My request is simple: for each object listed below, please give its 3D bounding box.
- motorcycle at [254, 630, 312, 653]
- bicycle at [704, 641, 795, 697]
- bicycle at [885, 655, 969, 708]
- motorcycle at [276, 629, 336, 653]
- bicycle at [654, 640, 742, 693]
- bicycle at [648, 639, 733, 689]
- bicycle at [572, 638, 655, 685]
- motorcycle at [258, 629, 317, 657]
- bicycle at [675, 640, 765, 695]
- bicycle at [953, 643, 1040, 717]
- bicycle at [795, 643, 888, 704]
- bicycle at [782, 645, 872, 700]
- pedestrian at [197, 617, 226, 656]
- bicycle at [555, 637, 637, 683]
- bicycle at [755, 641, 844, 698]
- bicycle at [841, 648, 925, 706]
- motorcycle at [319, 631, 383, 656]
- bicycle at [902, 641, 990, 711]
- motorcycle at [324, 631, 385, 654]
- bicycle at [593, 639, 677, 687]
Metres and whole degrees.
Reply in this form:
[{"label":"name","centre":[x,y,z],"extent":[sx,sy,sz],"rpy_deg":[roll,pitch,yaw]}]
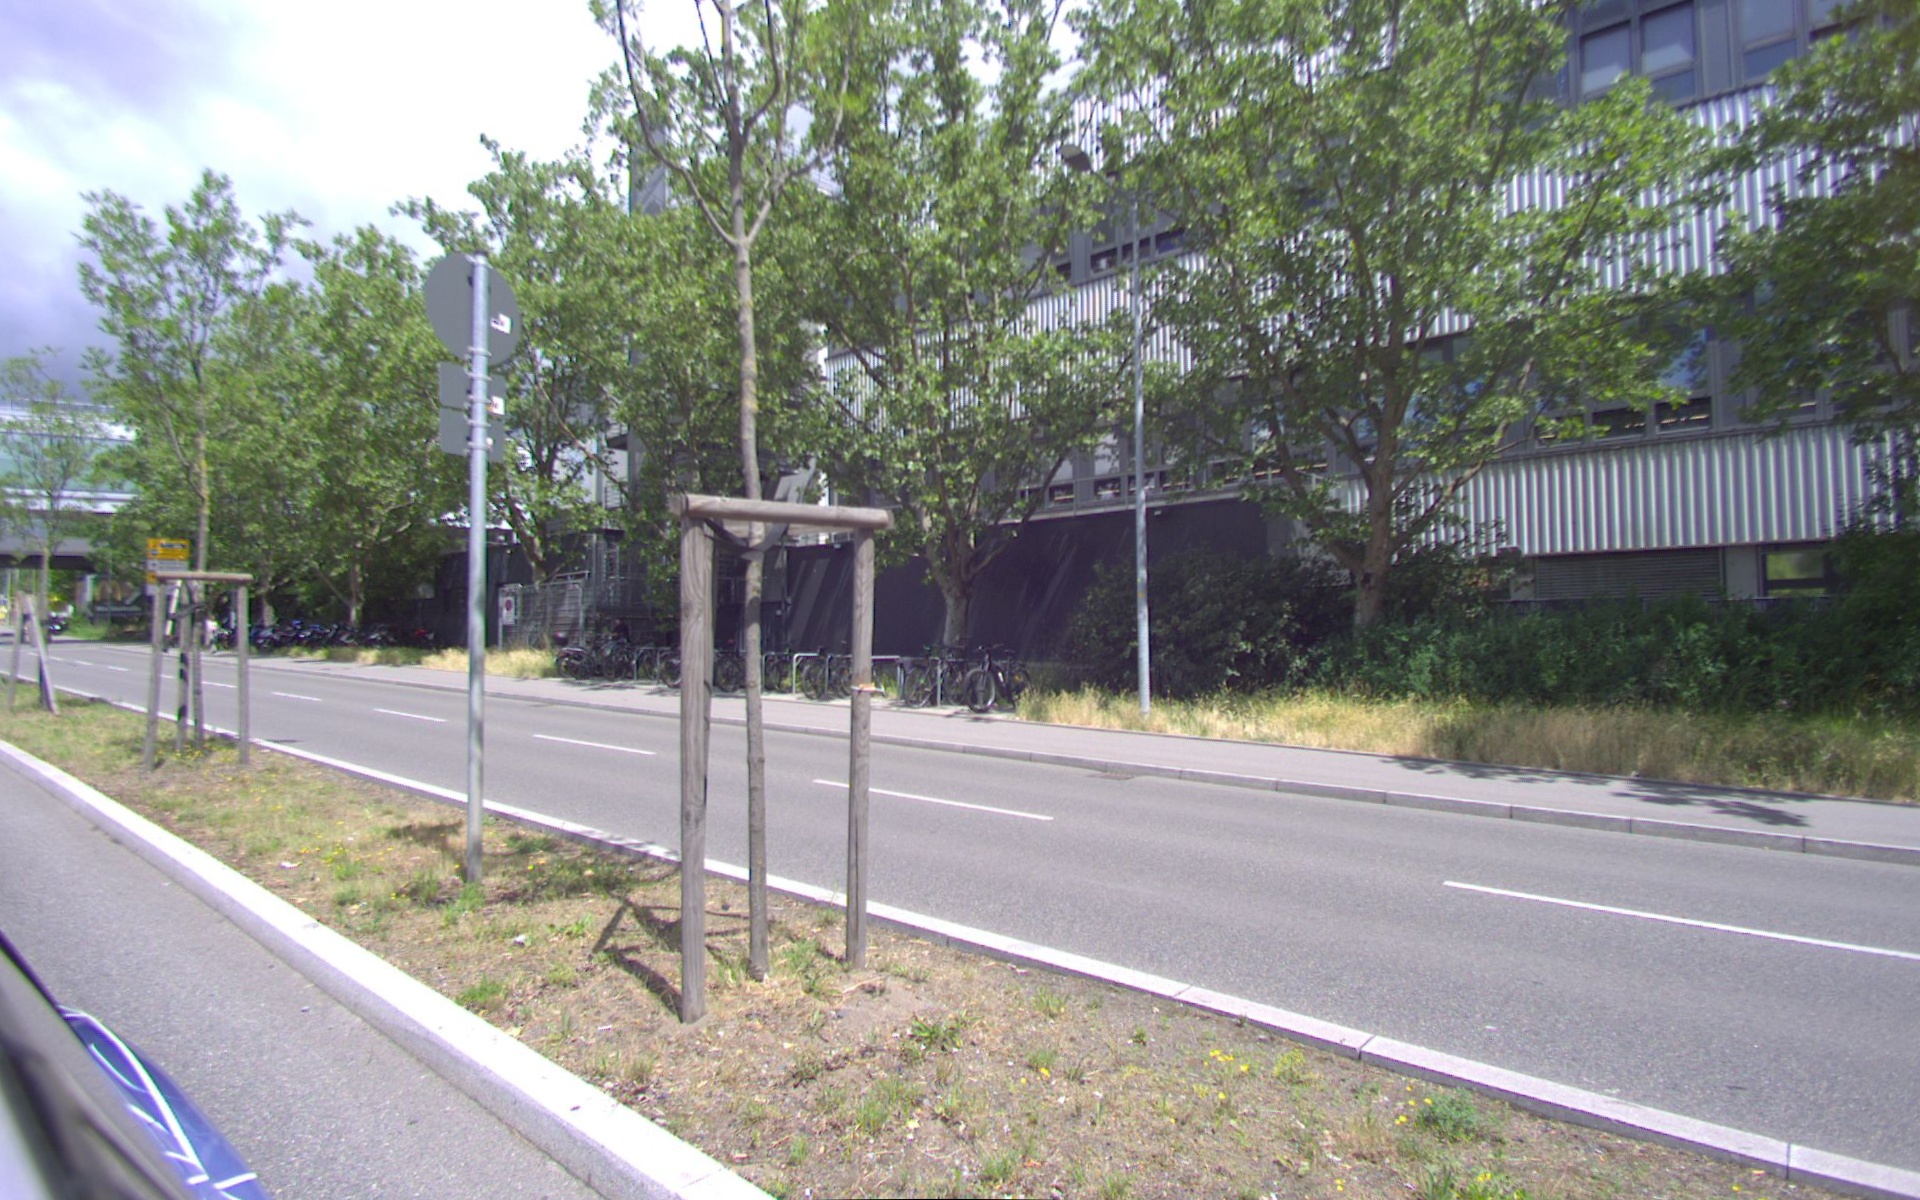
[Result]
[{"label":"motorcycle","centre":[-30.175,1.832,45.133],"extent":[0.534,0.976,2.105],"rpy_deg":[-2,-1,41]},{"label":"bicycle","centre":[-4.548,1.483,22.017],"extent":[0.382,1.119,2.101],"rpy_deg":[-2,-1,43]},{"label":"bicycle","centre":[-0.602,1.524,19.222],"extent":[0.381,0.897,1.968],"rpy_deg":[-2,-1,39]},{"label":"motorcycle","centre":[-28.006,1.736,43.345],"extent":[0.534,0.976,2.105],"rpy_deg":[-2,-1,41]},{"label":"bicycle","centre":[-5.996,1.503,23.264],"extent":[0.382,1.119,2.101],"rpy_deg":[-2,-1,43]},{"label":"bicycle","centre":[-6.486,1.515,24.414],"extent":[0.382,1.119,2.101],"rpy_deg":[-2,-1,43]},{"label":"bicycle","centre":[-8.911,1.574,26.086],"extent":[0.382,1.119,2.101],"rpy_deg":[-2,-1,43]},{"label":"motorcycle","centre":[-29.221,1.859,44.007],"extent":[0.534,1.146,2.105],"rpy_deg":[-2,-1,41]},{"label":"bicycle","centre":[-5.339,1.492,22.668],"extent":[0.382,1.119,2.101],"rpy_deg":[-2,-1,43]},{"label":"bicycle","centre":[0.655,1.342,17.399],"extent":[0.381,1.137,1.968],"rpy_deg":[-2,-1,39]},{"label":"bicycle","centre":[-2.345,1.438,20.229],"extent":[0.382,1.104,2.101],"rpy_deg":[-2,-1,43]},{"label":"bicycle","centre":[-2.749,1.483,21.137],"extent":[0.382,1.038,2.101],"rpy_deg":[-2,-1,43]},{"label":"pedestrian","centre":[-33.388,1.621,45.121],"extent":[0.672,1.734,0.888],"rpy_deg":[-2,-2,41]},{"label":"bicycle","centre":[-9.552,1.555,26.632],"extent":[0.382,1.119,2.101],"rpy_deg":[-2,-1,43]},{"label":"bicycle","centre":[-3.417,1.460,21.751],"extent":[0.382,1.119,2.101],"rpy_deg":[-2,-1,43]},{"label":"bicycle","centre":[-1.475,1.480,19.708],"extent":[0.381,1.005,1.968],"rpy_deg":[-2,-1,39]},{"label":"motorcycle","centre":[-23.955,1.705,39.826],"extent":[0.534,0.905,2.105],"rpy_deg":[-2,-1,41]},{"label":"bicycle","centre":[-0.225,1.338,18.121],"extent":[0.381,1.137,1.968],"rpy_deg":[-2,-1,39]},{"label":"motorcycle","centre":[-24.844,1.736,41.574],"extent":[0.534,0.892,2.105],"rpy_deg":[-2,-1,41]},{"label":"bicycle","centre":[-8.166,1.570,25.538],"extent":[0.382,1.119,2.101],"rpy_deg":[-2,-1,43]}]
